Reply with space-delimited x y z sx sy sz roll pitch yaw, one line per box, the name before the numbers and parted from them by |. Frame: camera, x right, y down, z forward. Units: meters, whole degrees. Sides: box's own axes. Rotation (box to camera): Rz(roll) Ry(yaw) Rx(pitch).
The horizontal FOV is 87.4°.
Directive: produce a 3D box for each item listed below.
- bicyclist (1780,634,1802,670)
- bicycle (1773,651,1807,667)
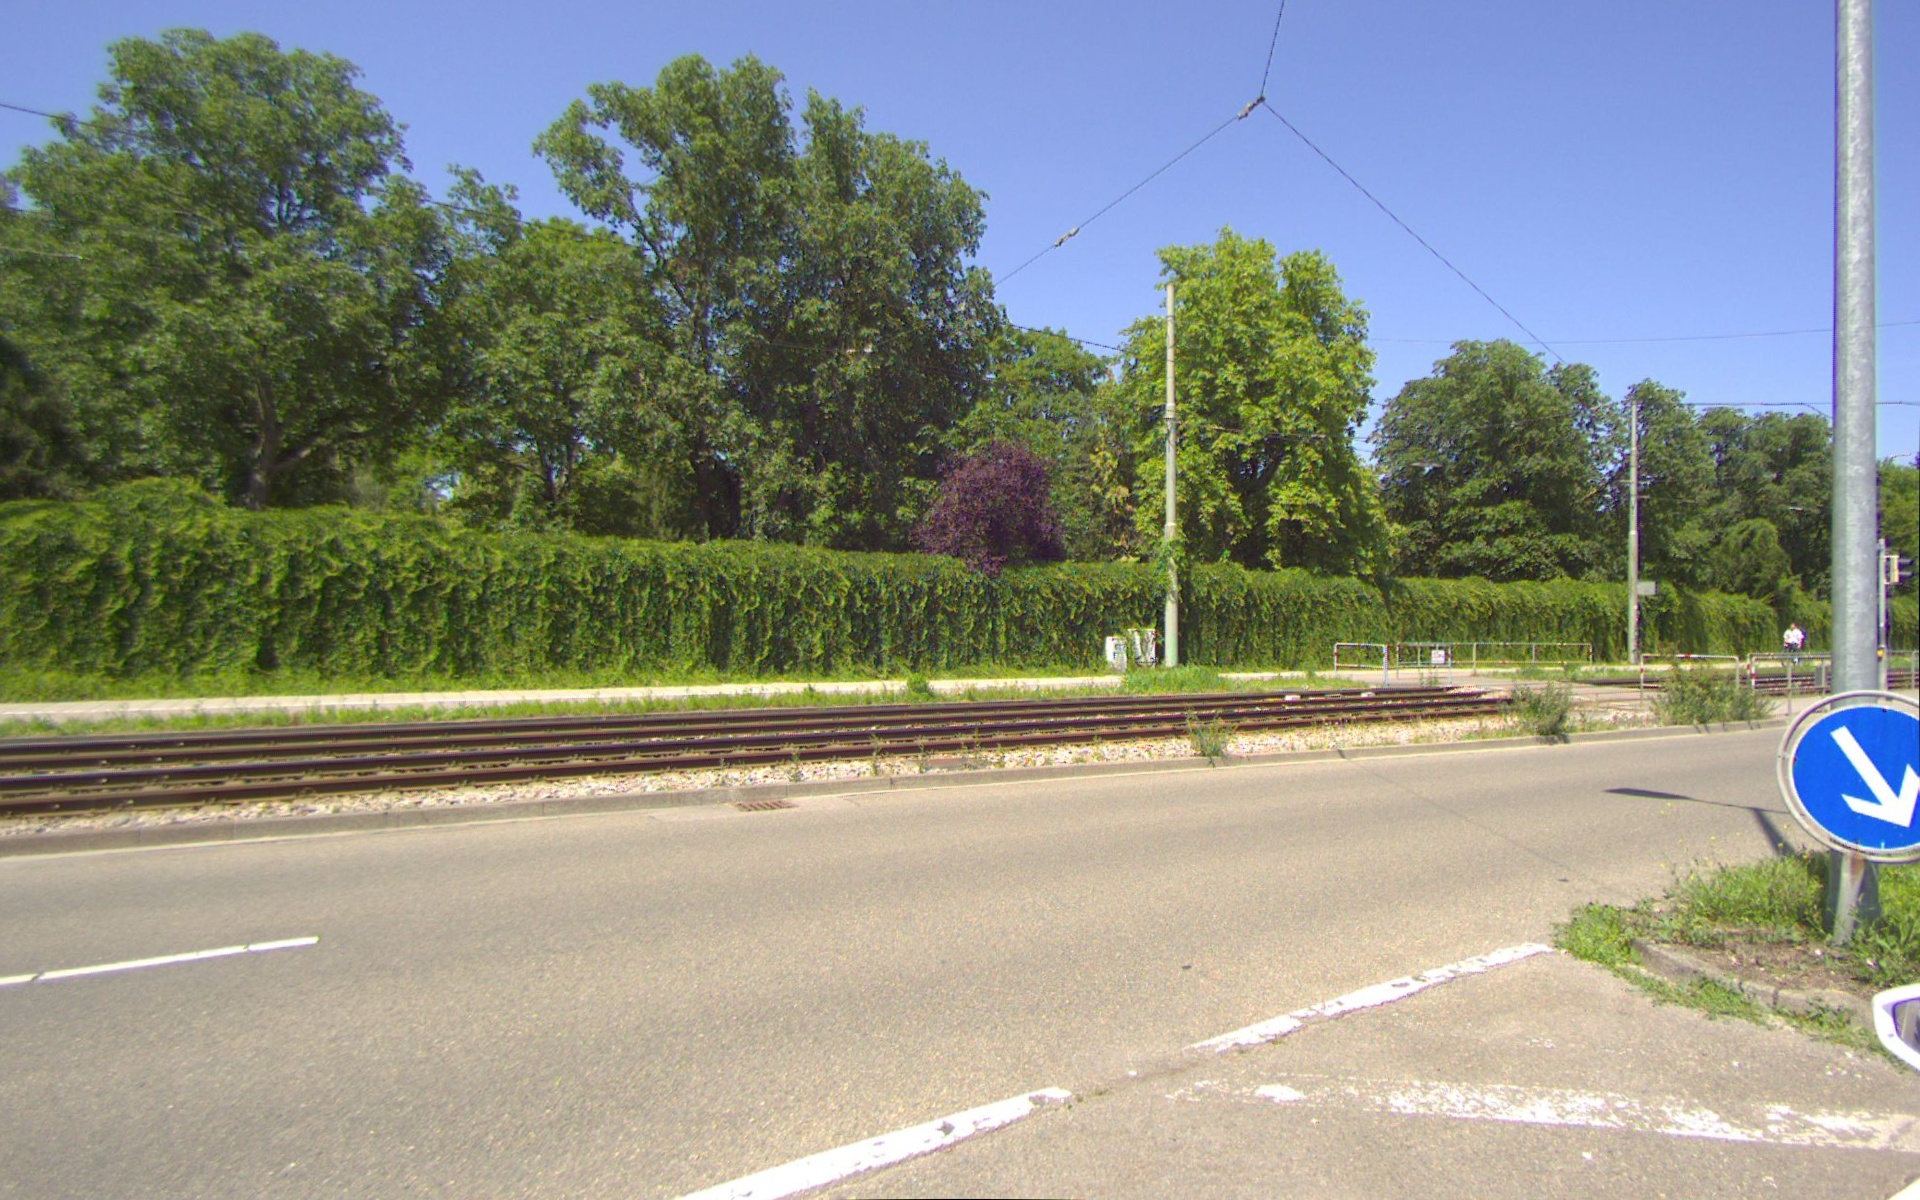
bicyclist | 35.215 2.192 42.581 0.555 1.497 0.555 1 -1 -29
bicycle | 35.182 2.486 42.554 1.699 0.656 0.558 1 -1 -30
